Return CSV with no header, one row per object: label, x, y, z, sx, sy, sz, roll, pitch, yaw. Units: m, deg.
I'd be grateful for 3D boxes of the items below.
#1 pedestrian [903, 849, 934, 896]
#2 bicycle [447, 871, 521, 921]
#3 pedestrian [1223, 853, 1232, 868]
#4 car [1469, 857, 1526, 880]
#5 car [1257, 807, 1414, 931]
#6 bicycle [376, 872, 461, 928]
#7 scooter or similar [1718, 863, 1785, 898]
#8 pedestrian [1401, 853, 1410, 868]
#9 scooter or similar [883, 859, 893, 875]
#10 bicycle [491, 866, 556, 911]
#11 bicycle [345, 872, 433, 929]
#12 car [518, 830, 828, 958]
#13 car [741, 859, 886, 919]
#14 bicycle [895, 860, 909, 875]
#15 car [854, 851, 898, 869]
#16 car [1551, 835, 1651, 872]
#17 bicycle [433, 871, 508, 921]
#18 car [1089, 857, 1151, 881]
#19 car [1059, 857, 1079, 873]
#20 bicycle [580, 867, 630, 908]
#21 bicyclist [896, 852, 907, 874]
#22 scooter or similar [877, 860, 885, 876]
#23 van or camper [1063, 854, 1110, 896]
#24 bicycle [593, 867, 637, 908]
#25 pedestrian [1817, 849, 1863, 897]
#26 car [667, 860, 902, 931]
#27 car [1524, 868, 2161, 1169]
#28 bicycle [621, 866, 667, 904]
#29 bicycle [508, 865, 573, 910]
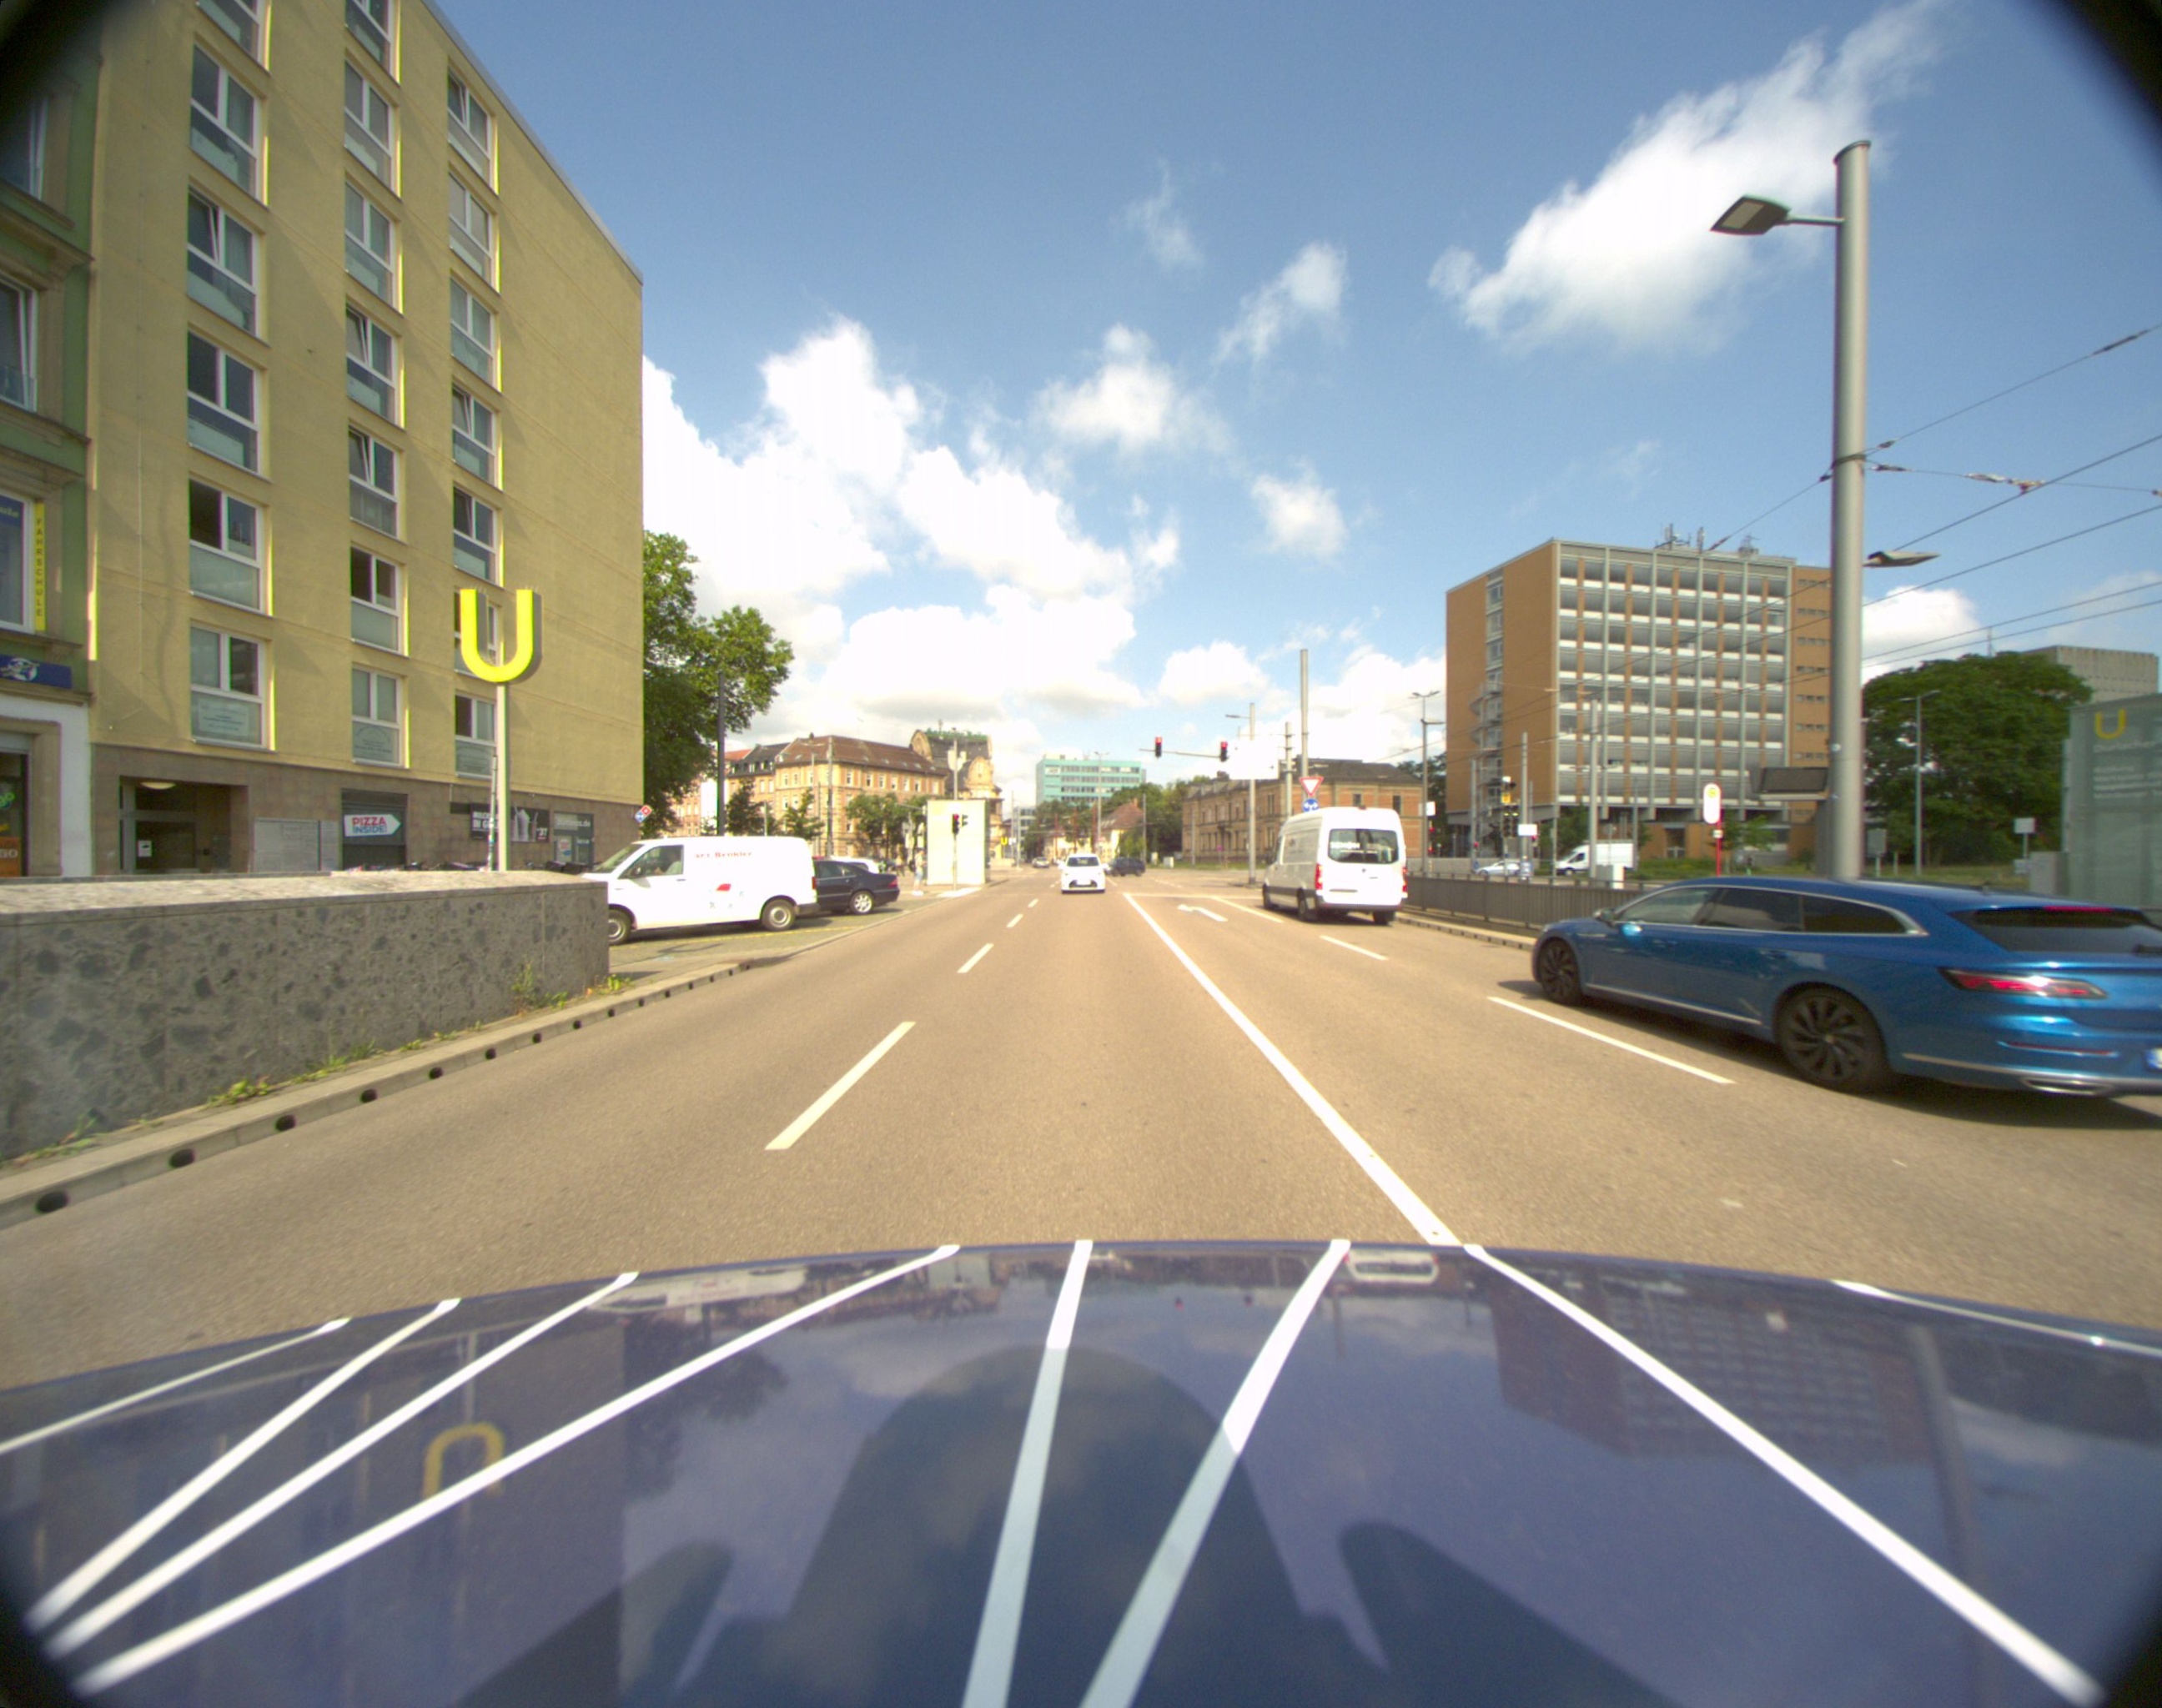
pedestrian,-6.418,0.726,29.953,0.996,1.750,0.784,-3,4,-23
bicycle,-15.312,1.061,19.544,0.487,1.194,1.646,0,0,5
pedestrian,16.904,0.704,87.711,0.784,1.727,0.859,0,1,-8
car,37.333,1.302,68.150,4.132,1.763,2.001,-2,4,15
car,6.018,0.309,18.816,1.998,2.606,5.580,1,0,0
bicycle,-15.213,1.028,17.504,0.487,1.194,1.645,0,0,0
scooter or similar,26.695,1.029,30.292,1.337,1.183,1.494,-2,4,3
pedestrian,33.234,0.677,77.787,0.763,1.579,0.774,0,1,34
scooter or similar,-14.120,0.976,55.603,0.382,1.151,0.927,-1,1,-38
bicycle,-15.771,0.949,21.537,0.487,1.194,1.646,0,0,5
bicycle,-15.773,1.039,17.372,0.487,1.194,1.645,0,0,0
car,-7.806,0.639,14.912,4.909,2.072,2.074,-2,0,-45
car,-7.703,0.955,21.973,3.518,1.432,1.715,-3,1,-40
bicycle,-13.900,1.043,58.996,0.789,1.121,1.991,0,0,-5
car,-19.627,0.558,72.691,3.989,1.505,1.829,0,5,33
car,41.543,-0.063,60.905,6.136,2.862,2.489,0,1,17
bicycle,-15.838,1.071,19.763,0.487,1.194,1.646,0,0,5
car,2.964,1.092,56.861,4.551,1.274,1.994,-6,5,-43
car,-1.620,1.436,100.785,2.000,1.730,4.335,-3,4,-9
bicycle,-15.762,1.084,25.194,0.487,1.265,1.646,0,0,5
bicyclist,-13.899,0.699,58.986,0.711,1.734,0.828,0,-1,-5
scooter or similar,-14.545,1.023,55.192,0.382,1.151,0.927,-1,1,-26
van or camper,0.194,0.740,28.274,1.627,1.467,4.000,0,0,0
bicycle,-15.214,1.081,24.870,0.488,1.265,1.888,0,0,-7
pedestrian,27.426,0.684,27.463,1.094,1.679,0.931,-2,0,42
car,-7.228,0.919,18.875,5.074,1.460,1.885,-1,1,-41
car,5.819,0.875,6.071,1.854,1.447,4.554,1,0,-1
bicycle,-15.284,1.076,26.629,0.531,1.265,1.646,0,0,5
bicycle,-15.215,0.929,21.448,0.548,1.194,1.646,0,0,5
